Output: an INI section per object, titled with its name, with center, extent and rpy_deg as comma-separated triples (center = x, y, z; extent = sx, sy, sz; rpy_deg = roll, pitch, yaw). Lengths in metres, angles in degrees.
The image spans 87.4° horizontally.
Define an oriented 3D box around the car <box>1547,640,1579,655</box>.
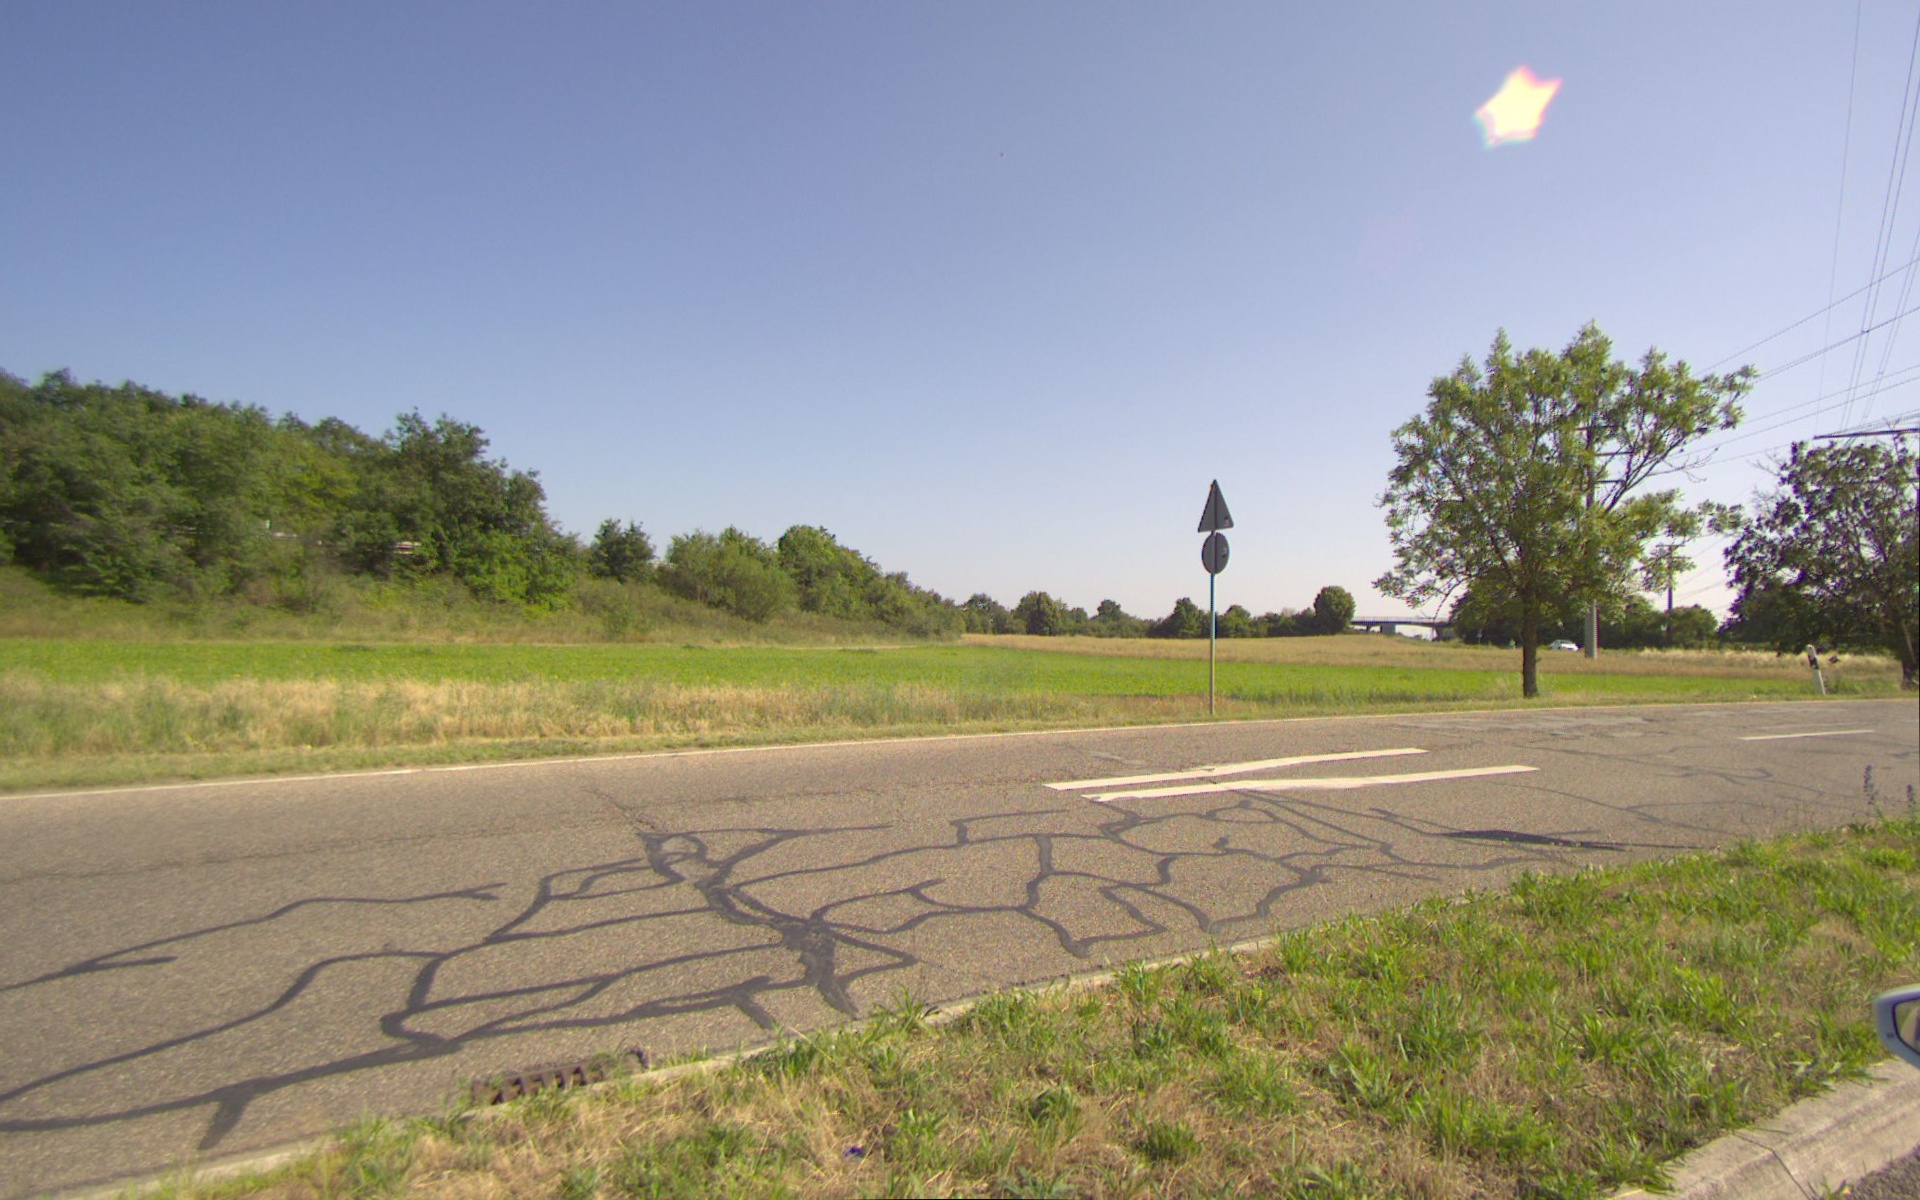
[car]
center = 74.466, 5.849, 124.055
extent = 1.783, 1.673, 4.765
rpy_deg = 2, -1, 10
